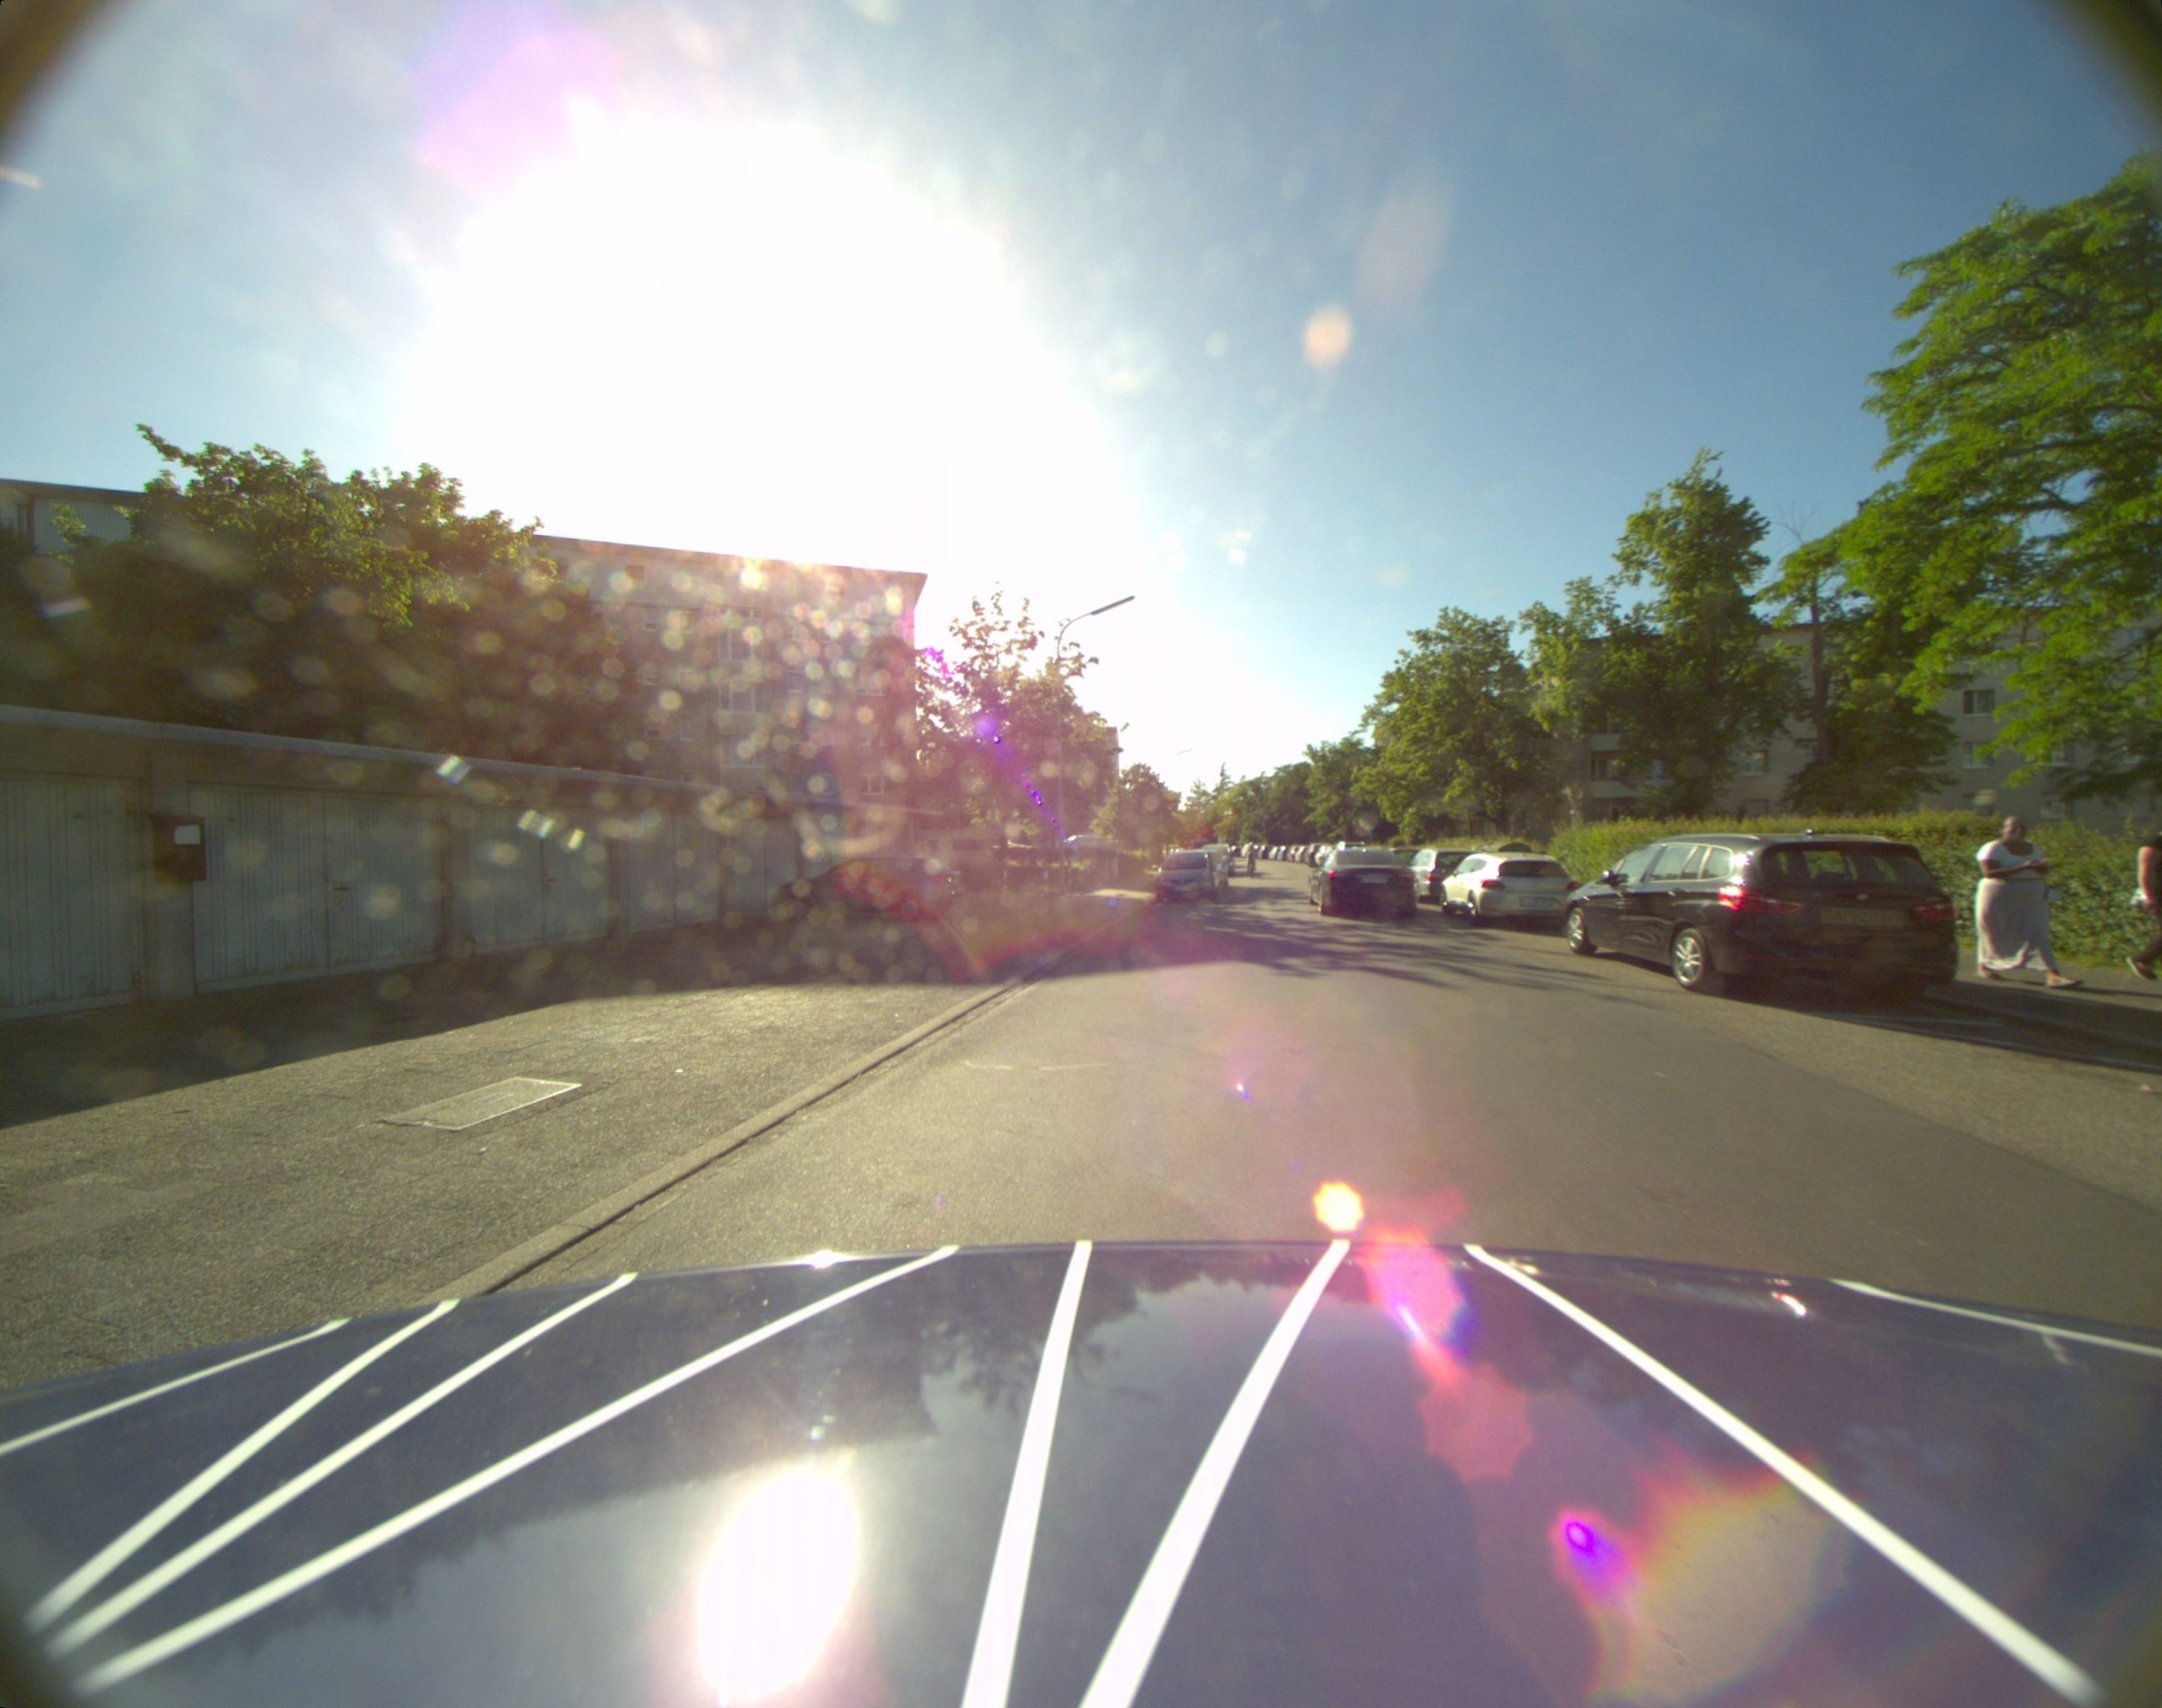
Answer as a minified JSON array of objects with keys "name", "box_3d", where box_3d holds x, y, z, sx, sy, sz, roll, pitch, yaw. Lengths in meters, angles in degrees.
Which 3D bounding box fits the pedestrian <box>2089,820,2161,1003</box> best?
[{"name":"pedestrian","box_3d":[10.230,0.511,7.122,0.722,1.669,0.600,-1,1,13]}]

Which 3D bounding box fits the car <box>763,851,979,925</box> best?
[{"name":"car","box_3d":[-4.562,0.726,16.824,4.189,1.486,1.819,-1,1,10]}]

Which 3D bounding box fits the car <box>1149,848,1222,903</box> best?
[{"name":"car","box_3d":[3.278,0.608,23.216,1.807,1.486,3.798,-1,1,14]}]

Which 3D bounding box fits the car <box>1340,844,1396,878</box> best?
[{"name":"car","box_3d":[13.438,0.278,35.858,1.757,1.377,4.677,1,2,12]}]

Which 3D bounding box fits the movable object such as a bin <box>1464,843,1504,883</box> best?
[{"name":"movable object such as a bin","box_3d":[15.278,0.323,28.836,0.896,1.407,1.327,-4,1,11]}]

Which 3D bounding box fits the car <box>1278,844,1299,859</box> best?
[{"name":"car","box_3d":[20.934,-0.265,76.804,1.656,1.470,3.107,0,1,8]}]

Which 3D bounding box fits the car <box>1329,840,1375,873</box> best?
[{"name":"car","box_3d":[14.592,0.093,41.067,1.757,1.659,4.393,1,1,12]}]

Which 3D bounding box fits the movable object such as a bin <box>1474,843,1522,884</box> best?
[{"name":"movable object such as a bin","box_3d":[15.035,0.323,27.418,1.121,1.358,1.258,-4,1,11]}]

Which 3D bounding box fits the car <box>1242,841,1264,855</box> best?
[{"name":"car","box_3d":[22.941,-0.808,101.346,1.884,1.858,5.439,0,1,3]}]

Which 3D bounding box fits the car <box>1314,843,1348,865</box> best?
[{"name":"car","box_3d":[17.097,-0.021,52.093,1.757,1.428,4.154,1,1,12]}]

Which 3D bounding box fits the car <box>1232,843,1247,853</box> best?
[{"name":"car","box_3d":[23.596,-0.919,113.173,1.657,1.558,3.690,0,1,2]}]

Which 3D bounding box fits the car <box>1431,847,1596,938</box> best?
[{"name":"car","box_3d":[8.334,0.632,15.065,1.756,1.417,4.214,1,2,15]}]

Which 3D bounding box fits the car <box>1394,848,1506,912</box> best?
[{"name":"car","box_3d":[9.820,0.594,20.641,1.756,1.481,4.905,2,1,15]}]

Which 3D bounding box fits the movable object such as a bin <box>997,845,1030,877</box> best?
[{"name":"movable object such as a bin","box_3d":[-3.193,0.329,35.957,1.324,1.472,1.030,-1,1,7]}]

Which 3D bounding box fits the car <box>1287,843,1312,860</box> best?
[{"name":"car","box_3d":[19.996,-0.257,69.747,1.634,1.470,3.881,0,1,8]}]

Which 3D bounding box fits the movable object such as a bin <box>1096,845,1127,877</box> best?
[{"name":"movable object such as a bin","box_3d":[1.408,0.310,35.342,1.327,1.420,1.070,1,1,7]}]

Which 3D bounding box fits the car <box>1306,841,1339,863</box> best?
[{"name":"car","box_3d":[18.352,-0.206,57.934,1.809,1.596,4.435,1,1,11]}]

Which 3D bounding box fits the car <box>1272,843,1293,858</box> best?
[{"name":"car","box_3d":[21.702,-0.395,81.942,1.657,1.470,3.736,0,1,5]}]

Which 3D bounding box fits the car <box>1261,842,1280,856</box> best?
[{"name":"car","box_3d":[22.203,-0.600,89.236,1.656,1.621,4.073,0,1,7]}]

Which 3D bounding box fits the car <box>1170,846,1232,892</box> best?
[{"name":"car","box_3d":[4.551,0.497,28.318,1.833,1.537,4.645,-1,1,14]}]

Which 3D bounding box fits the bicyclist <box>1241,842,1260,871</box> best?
[{"name":"bicyclist","box_3d":[8.110,0.099,36.367,0.811,1.348,1.092,-1,1,14]}]

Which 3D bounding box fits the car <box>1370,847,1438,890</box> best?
[{"name":"car","box_3d":[11.828,0.474,28.012,1.651,1.455,3.498,1,1,12]}]

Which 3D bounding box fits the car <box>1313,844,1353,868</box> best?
[{"name":"car","box_3d":[15.342,0.068,46.454,1.641,1.377,4.173,0,1,9]}]

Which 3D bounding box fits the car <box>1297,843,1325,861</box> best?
[{"name":"car","box_3d":[19.515,-0.219,64.640,1.809,1.470,3.943,0,1,10]}]

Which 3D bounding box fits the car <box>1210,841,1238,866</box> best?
[{"name":"car","box_3d":[10.065,-0.053,53.646,1.757,1.664,4.415,-1,1,9]}]

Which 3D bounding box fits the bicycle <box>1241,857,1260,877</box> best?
[{"name":"bicycle","box_3d":[8.146,0.618,36.455,0.823,0.896,2.205,-1,1,14]}]

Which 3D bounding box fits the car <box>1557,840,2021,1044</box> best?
[{"name":"car","box_3d":[7.155,0.671,8.453,1.757,1.626,4.374,1,1,13]}]

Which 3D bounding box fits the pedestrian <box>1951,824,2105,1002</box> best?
[{"name":"pedestrian","box_3d":[9.305,0.556,7.500,0.722,1.669,0.617,-1,1,13]}]

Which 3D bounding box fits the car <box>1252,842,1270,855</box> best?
[{"name":"car","box_3d":[22.608,-0.675,95.427,1.657,1.621,3.691,0,1,5]}]

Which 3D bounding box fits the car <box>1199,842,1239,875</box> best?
[{"name":"car","box_3d":[7.397,0.209,40.443,1.757,1.618,4.499,-1,1,14]}]

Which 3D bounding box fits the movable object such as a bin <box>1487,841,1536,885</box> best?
[{"name":"movable object such as a bin","box_3d":[14.765,0.296,26.105,1.003,1.407,1.327,-4,1,11]}]

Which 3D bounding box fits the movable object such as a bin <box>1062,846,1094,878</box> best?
[{"name":"movable object such as a bin","box_3d":[-0.136,0.373,35.726,1.327,1.423,1.030,-1,1,7]}]

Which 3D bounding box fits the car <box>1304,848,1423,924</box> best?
[{"name":"car","box_3d":[6.254,0.610,17.318,1.913,1.468,4.574,0,1,12]}]

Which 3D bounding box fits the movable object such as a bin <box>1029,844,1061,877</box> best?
[{"name":"movable object such as a bin","box_3d":[-1.692,0.300,35.820,1.327,1.528,1.030,-1,1,7]}]
